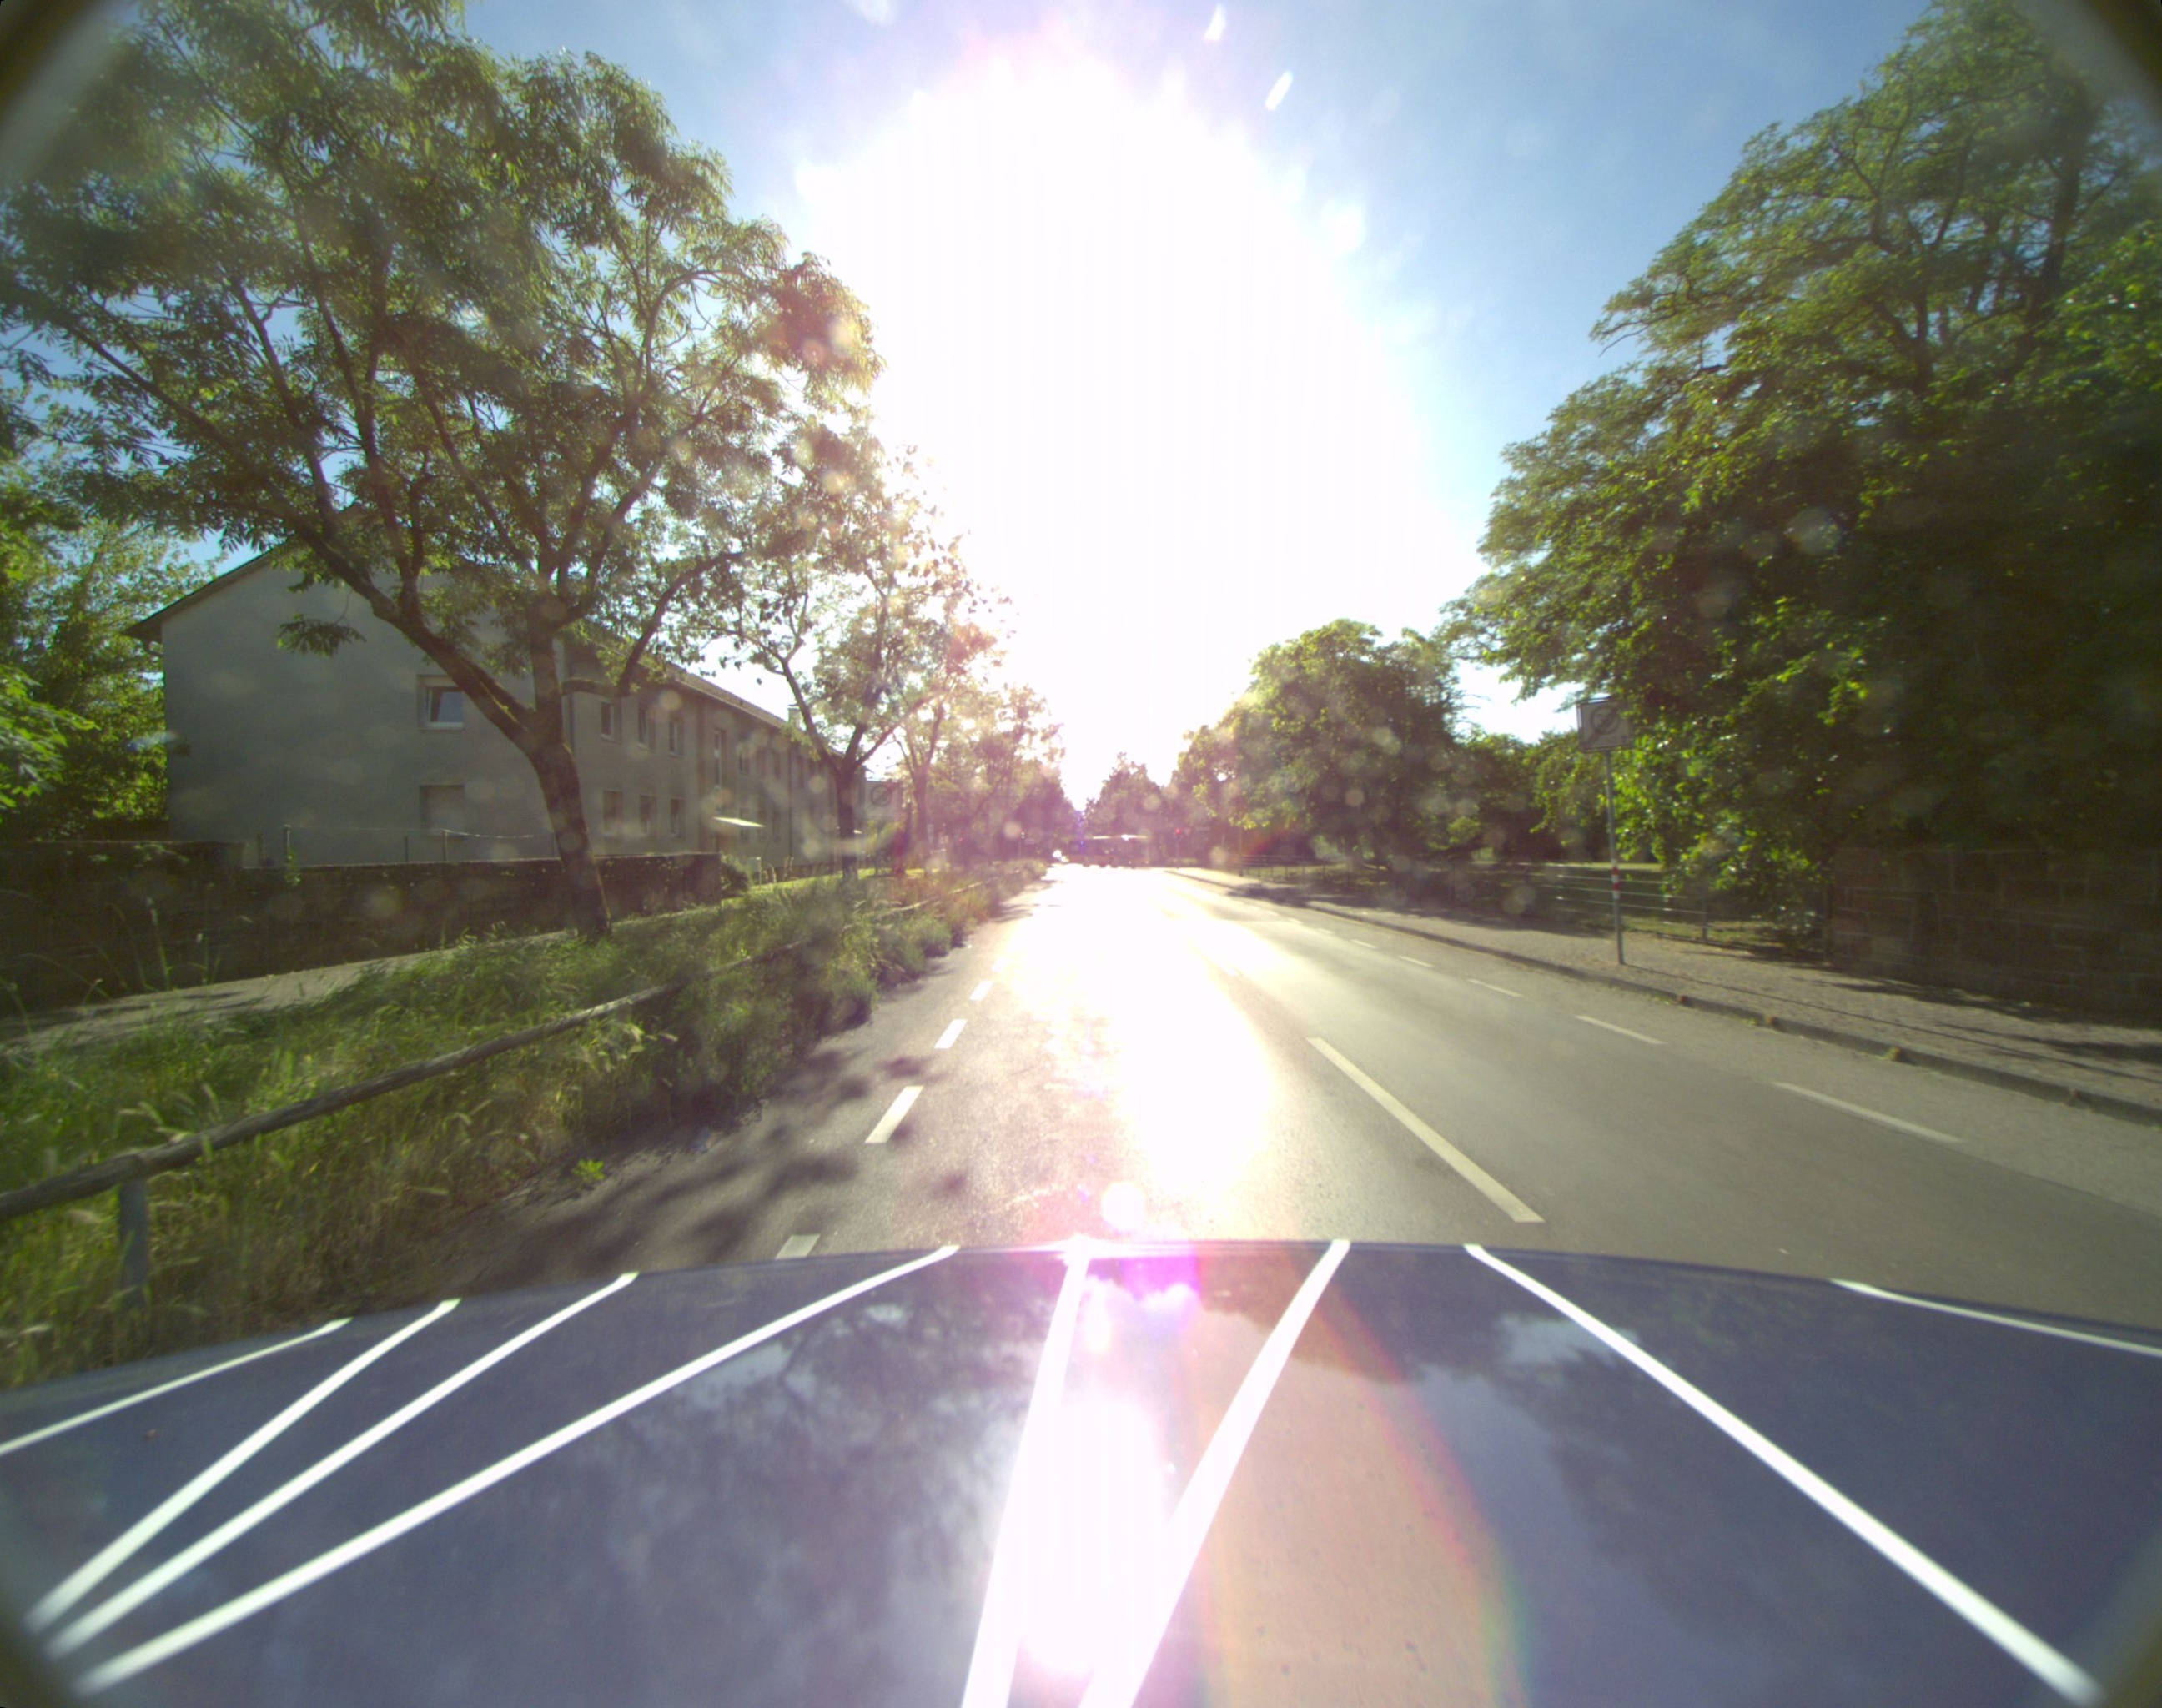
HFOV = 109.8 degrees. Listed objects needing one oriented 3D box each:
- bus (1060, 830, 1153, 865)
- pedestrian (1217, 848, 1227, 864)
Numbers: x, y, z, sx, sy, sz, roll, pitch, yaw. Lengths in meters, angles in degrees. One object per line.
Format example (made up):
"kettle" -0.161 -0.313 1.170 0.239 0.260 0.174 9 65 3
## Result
"bus" 2.222 -0.511 74.895 3.135 3.080 12.451 -2 0 -29
"pedestrian" 14.469 0.183 77.915 0.800 1.624 0.647 -2 0 0
